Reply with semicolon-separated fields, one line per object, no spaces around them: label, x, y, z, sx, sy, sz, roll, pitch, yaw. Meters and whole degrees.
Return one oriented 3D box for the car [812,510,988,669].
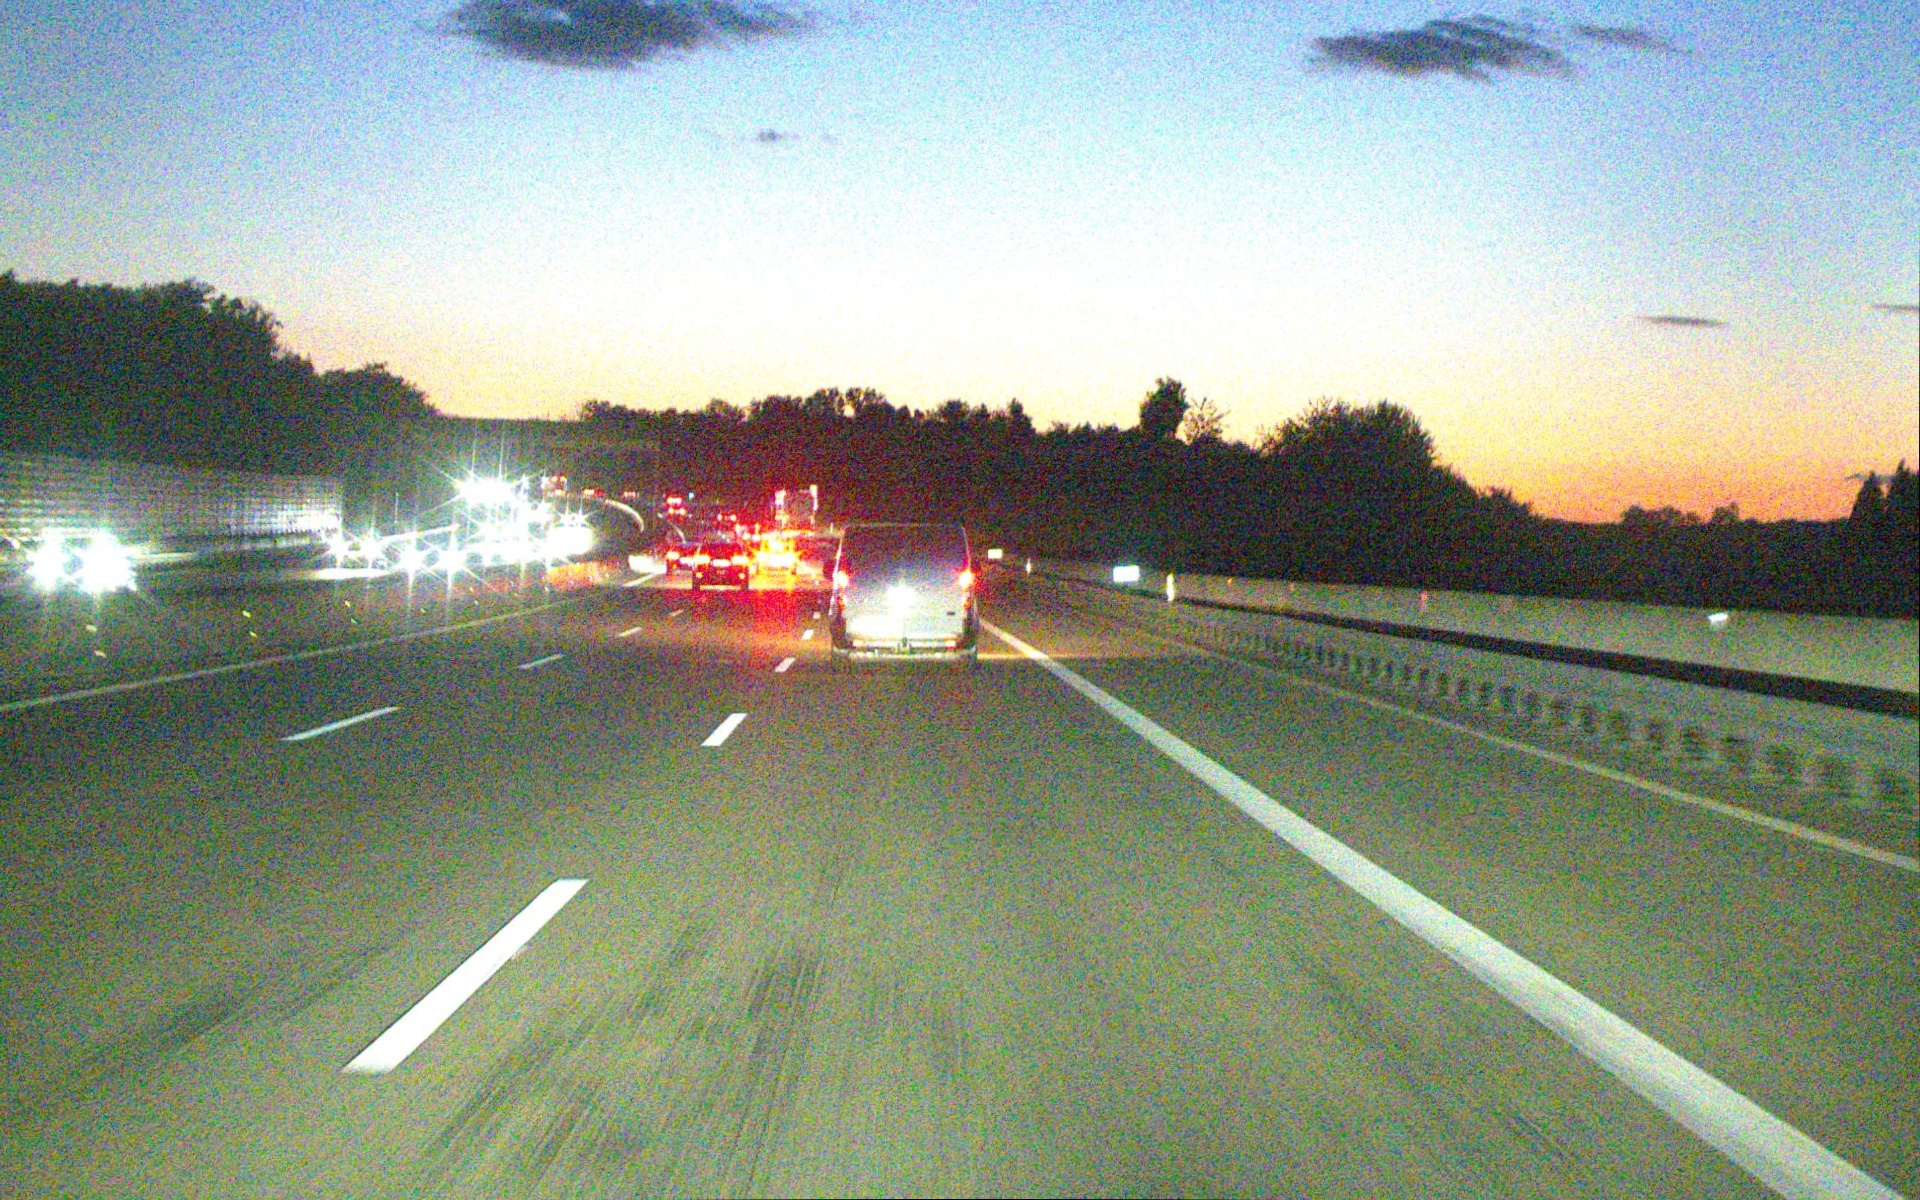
car;-0.898;-0.211;47.607;2.115;1.994;5.665;1;2;-4

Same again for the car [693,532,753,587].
car;-8.074;-1.365;117.148;1.993;1.809;4.001;0;0;-4

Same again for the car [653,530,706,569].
car;-12.460;-2.241;153.072;2.171;1.662;4.887;1;1;-3

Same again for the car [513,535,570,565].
car;-22.316;-2.655;183.412;2.559;1.550;5.109;1;1;-2

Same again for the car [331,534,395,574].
car;-27.392;-2.123;158.000;2.053;1.775;5.942;1;1;-2

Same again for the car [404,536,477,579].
car;-19.658;-1.618;130.365;2.118;1.550;5.109;1;1;-2

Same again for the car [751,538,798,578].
car;-8.460;-1.925;157.170;1.993;1.788;4.000;0;0;-1

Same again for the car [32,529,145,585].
car;-25.291;-1.256;99.967;2.118;1.550;5.109;1;1;-2

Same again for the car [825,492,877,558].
car;-4.438;-3.101;140.997;2.032;2.637;5.726;1;2;-1

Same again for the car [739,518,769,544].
car;-14.736;-4.950;245.560;1.993;1.788;4.000;0;0;-1
